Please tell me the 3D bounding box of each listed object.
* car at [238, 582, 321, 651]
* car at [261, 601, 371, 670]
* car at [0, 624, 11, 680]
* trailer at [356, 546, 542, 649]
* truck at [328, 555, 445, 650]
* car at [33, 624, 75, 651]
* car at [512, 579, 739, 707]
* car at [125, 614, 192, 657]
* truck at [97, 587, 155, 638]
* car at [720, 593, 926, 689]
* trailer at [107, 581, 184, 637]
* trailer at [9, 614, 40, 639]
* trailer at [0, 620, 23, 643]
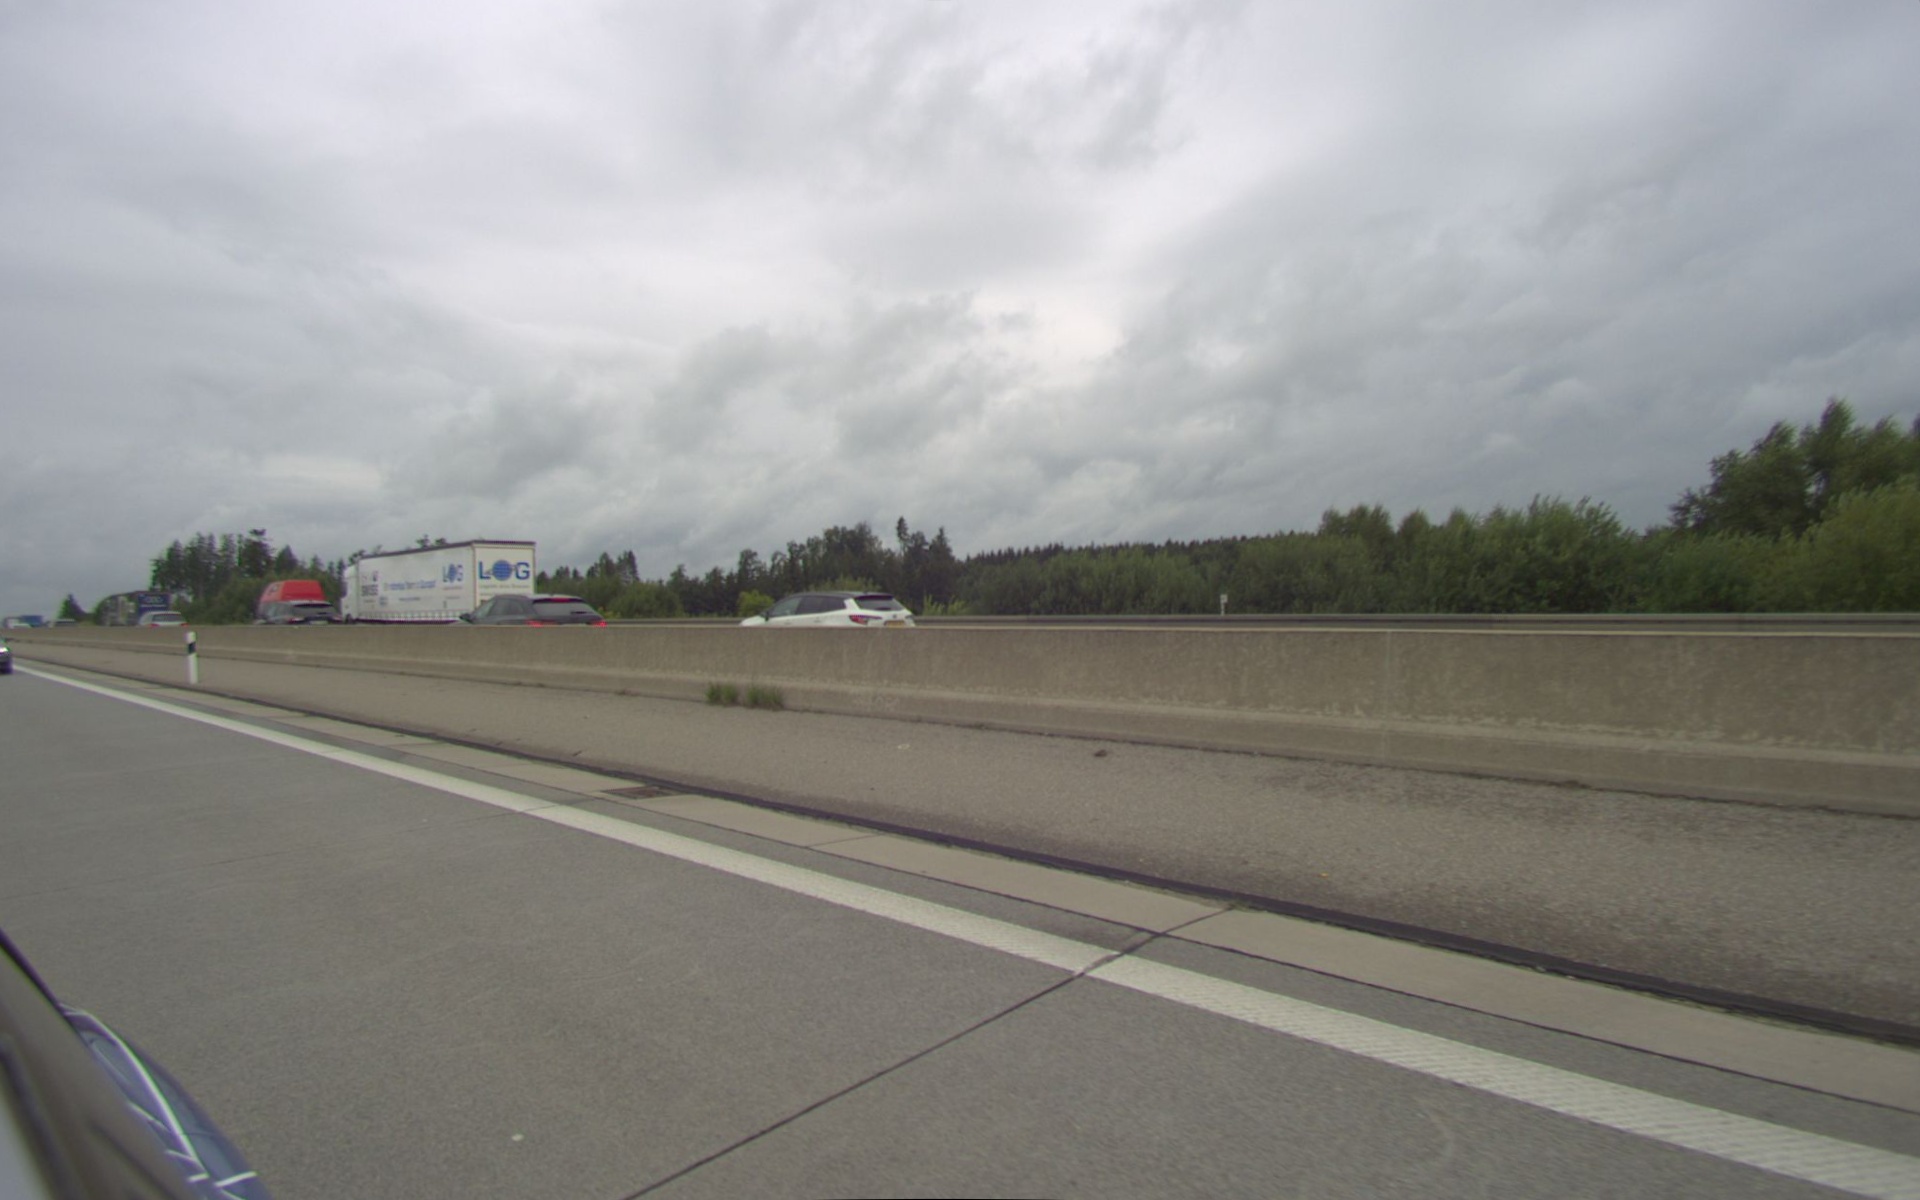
[{"bbox_3d":[-31.111,0.780,46.209,5.576,2.981,1.782,-2,-1,41],"label":"car"},{"bbox_3d":[-20.587,1.105,32.280,4.835,2.029,1.670,-1,-1,41],"label":"car"},{"bbox_3d":[-28.187,1.495,28.522,4.570,1.492,1.766,-3,-1,42],"label":"car"},{"bbox_3d":[-22.983,0.110,44.925,13.010,4.033,2.857,-3,-1,42],"label":"trailer"},{"bbox_3d":[-28.252,0.220,49.702,7.134,4.323,2.853,-3,-2,42],"label":"truck"},{"bbox_3d":[-63.952,2.666,71.452,4.427,1.779,1.725,-3,-1,42],"label":"car"},{"bbox_3d":[-6.157,0.723,18.320,4.835,2.029,1.670,-1,-1,41],"label":"car"},{"bbox_3d":[-40.098,1.775,50.577,4.724,2.029,1.782,-3,-1,41],"label":"car"},{"bbox_3d":[-82.585,1.223,100.193,5.867,4.856,3.549,-3,-2,42],"label":"truck"},{"bbox_3d":[-2.891,0.821,20.644,4.576,1.762,1.480,-3,-1,41],"label":"car"},{"bbox_3d":[-75.762,0.950,94.031,12.904,4.836,3.560,-3,-1,42],"label":"trailer"},{"bbox_3d":[-153.469,4.429,165.959,12.399,3.866,2.818,-3,-2,43],"label":"trailer"},{"bbox_3d":[-182.290,6.110,193.755,12.930,4.233,3.445,-3,-2,44],"label":"trailer"}]
